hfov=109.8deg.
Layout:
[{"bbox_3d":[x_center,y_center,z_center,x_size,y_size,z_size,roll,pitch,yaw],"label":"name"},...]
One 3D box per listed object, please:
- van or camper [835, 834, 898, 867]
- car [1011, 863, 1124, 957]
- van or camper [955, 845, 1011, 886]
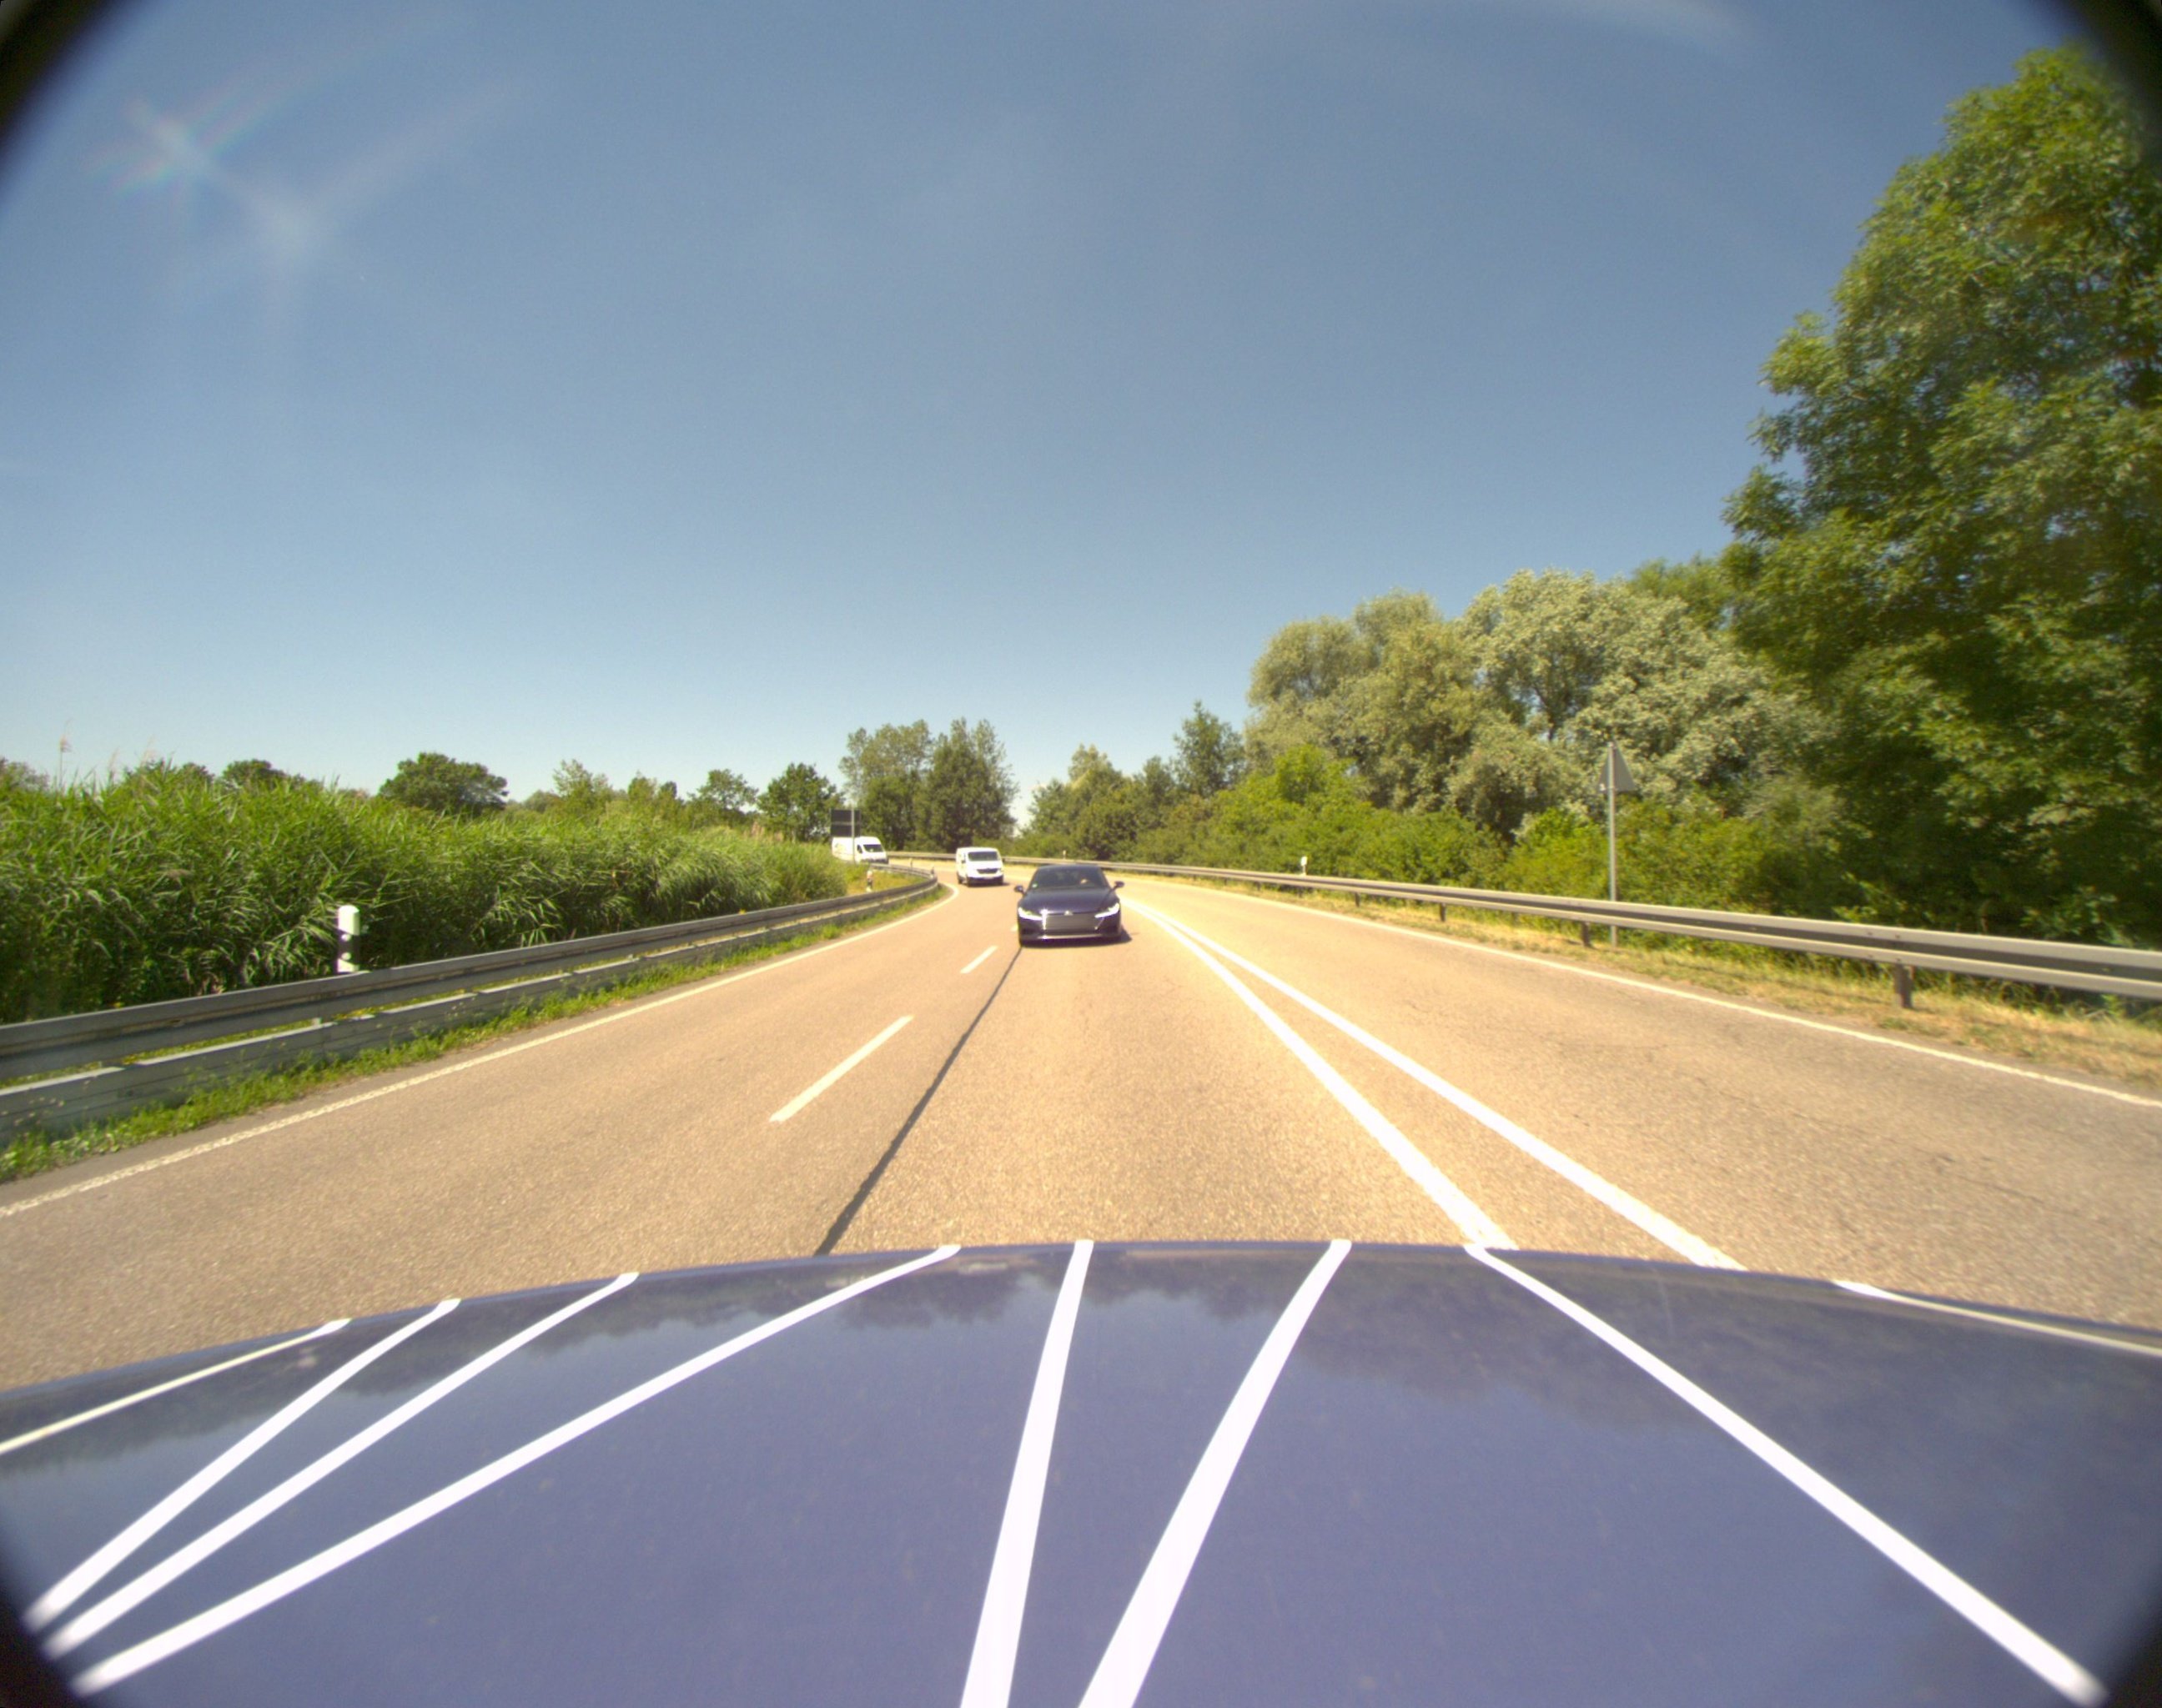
[{"bbox_3d":[-17.541,-0.358,61.921,6.029,2.541,2.078,2,5,44],"label":"van or camper"},{"bbox_3d":[-0.128,0.964,15.020,1.842,1.422,4.534,-3,0,3],"label":"car"},{"bbox_3d":[-5.392,0.580,41.166,2.011,2.019,5.440,-2,0,-18],"label":"van or camper"}]
